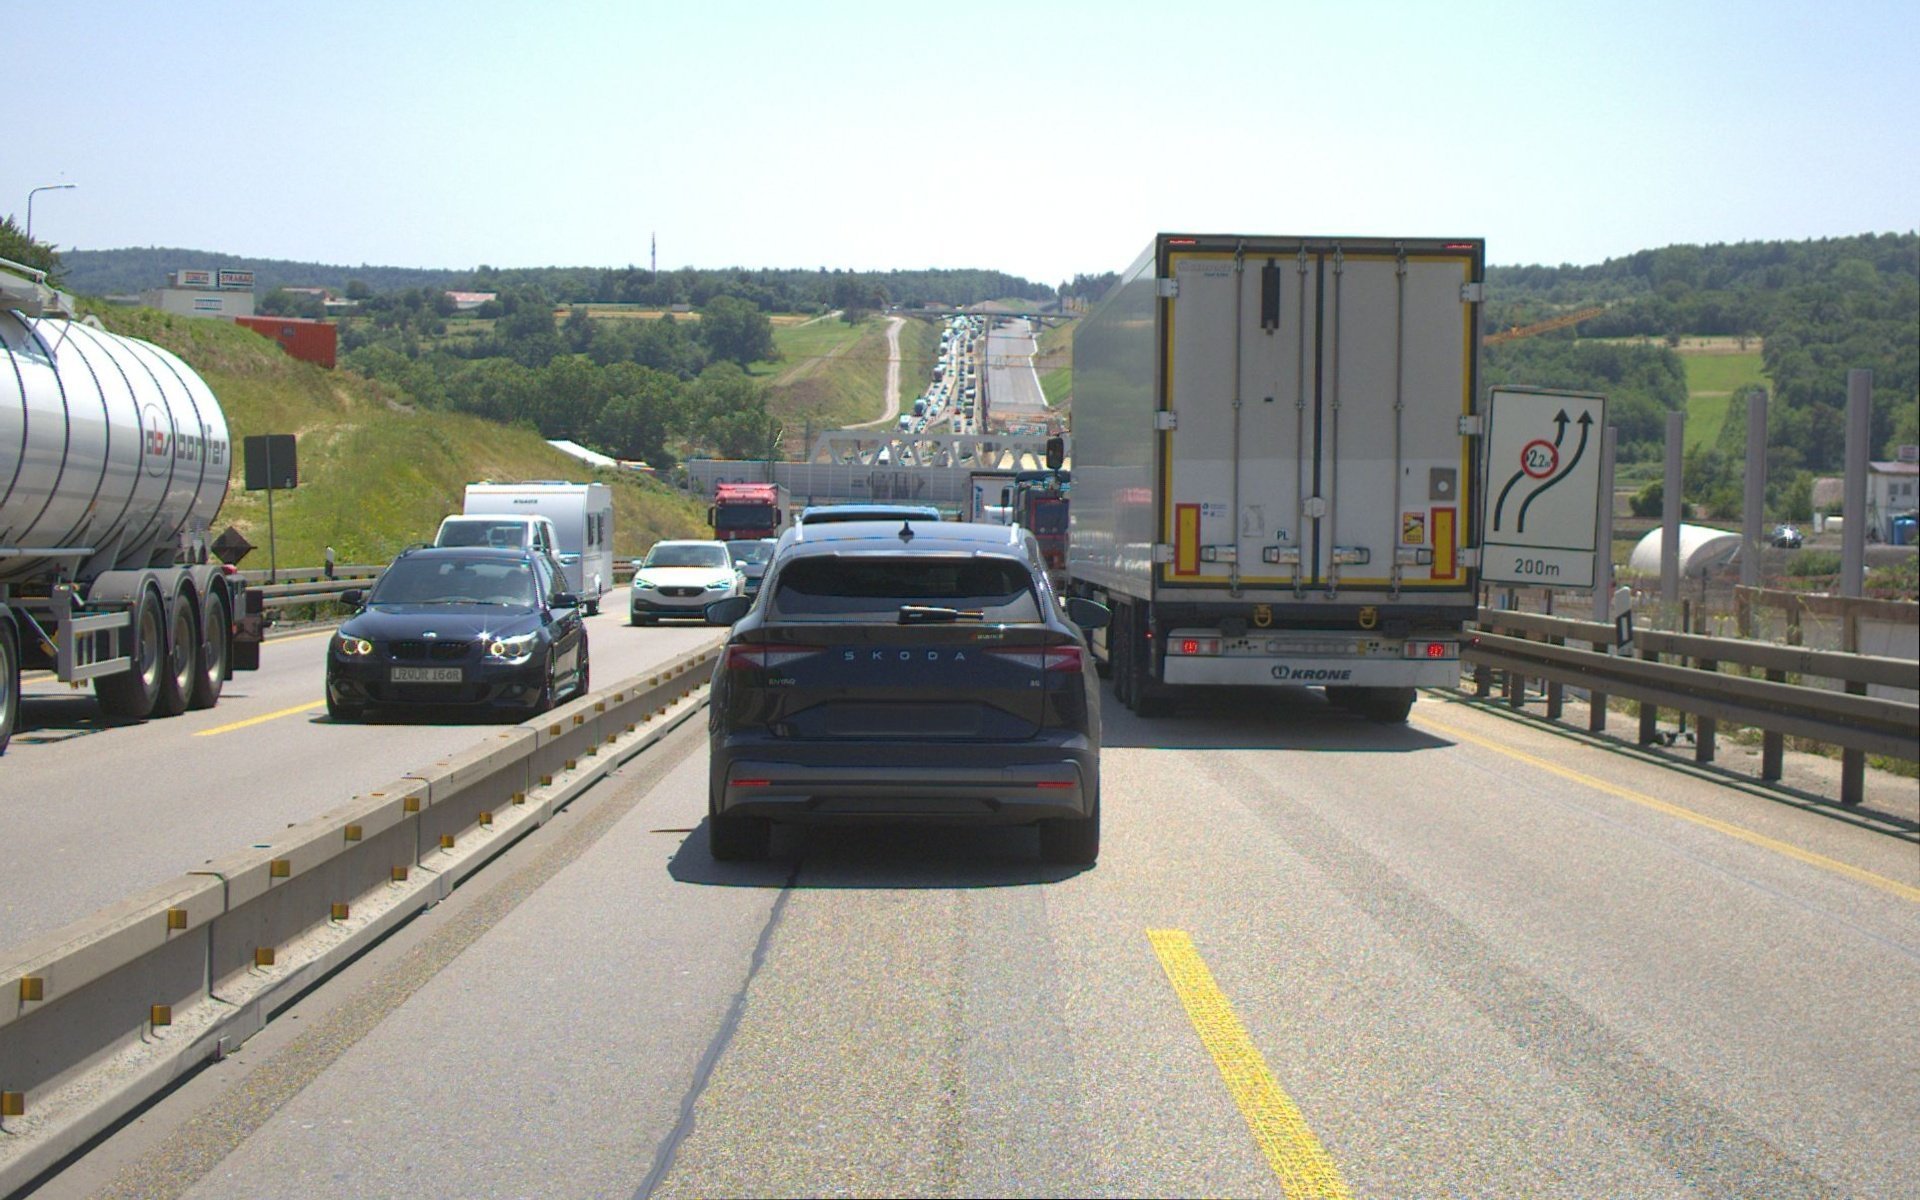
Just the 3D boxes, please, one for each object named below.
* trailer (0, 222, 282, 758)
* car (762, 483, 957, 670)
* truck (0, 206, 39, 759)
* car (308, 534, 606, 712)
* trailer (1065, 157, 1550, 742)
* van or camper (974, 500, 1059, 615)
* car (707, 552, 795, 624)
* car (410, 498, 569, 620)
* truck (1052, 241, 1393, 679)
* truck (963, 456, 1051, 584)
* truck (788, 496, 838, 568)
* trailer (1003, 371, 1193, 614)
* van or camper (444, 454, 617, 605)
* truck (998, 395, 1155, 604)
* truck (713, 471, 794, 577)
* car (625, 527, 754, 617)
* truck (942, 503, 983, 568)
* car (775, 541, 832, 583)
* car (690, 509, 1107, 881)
[{"bbox_3d":[-7.850,-0.836,27.409,2.716,3.581,11.796,1,1,-1],"label":"trailer"},{"bbox_3d":[-1.075,-0.246,38.047,1.993,1.919,4.508,1,0,-1],"label":"car"},{"bbox_3d":[-7.708,-0.743,20.544,2.779,3.660,6.278,1,1,-1],"label":"truck"},{"bbox_3d":[-4.281,0.143,29.950,1.895,1.409,4.679,0,1,0],"label":"car"},{"bbox_3d":[2.904,-1.325,33.312,3.180,4.497,13.109,1,1,-1],"label":"trailer"},{"bbox_3d":[1.707,-1.205,101.664,2.389,3.269,6.468,1,0,2],"label":"van or camper"},{"bbox_3d":[-4.306,-0.261,71.183,1.665,1.408,3.818,1,1,-1],"label":"car"},{"bbox_3d":[-7.988,-0.722,58.788,1.993,1.964,5.343,1,1,0],"label":"car"},{"bbox_3d":[2.832,-1.554,39.786,3.180,4.497,8.166,1,1,-1],"label":"truck"},{"bbox_3d":[1.670,-2.873,128.011,2.852,4.450,11.918,1,0,-1],"label":"truck"},{"bbox_3d":[-9.334,-4.299,219.571,2.852,4.323,11.918,1,0,-1],"label":"truck"},{"bbox_3d":[2.675,-2.003,71.916,3.180,4.498,14.967,1,0,-1],"label":"trailer"},{"bbox_3d":[-8.065,-1.342,65.385,2.357,2.667,7.858,1,1,-1],"label":"van or camper"},{"bbox_3d":[2.584,-2.174,78.876,3.180,4.498,8.165,1,0,-1],"label":"truck"},{"bbox_3d":[-8.629,-3.108,144.693,2.852,4.125,11.918,1,0,-1],"label":"truck"},{"bbox_3d":[-4.609,-0.513,59.176,1.912,1.475,4.637,1,1,-1],"label":"car"},{"bbox_3d":[0.144,-4.304,232.249,2.640,4.179,9.284,1,0,0],"label":"truck"},{"bbox_3d":[-5.754,-1.417,126.682,1.993,1.525,4.000,0,1,-1],"label":"car"},{"bbox_3d":[-0.265,0.397,17.042,1.802,1.602,4.000,1,0,0],"label":"car"}]
